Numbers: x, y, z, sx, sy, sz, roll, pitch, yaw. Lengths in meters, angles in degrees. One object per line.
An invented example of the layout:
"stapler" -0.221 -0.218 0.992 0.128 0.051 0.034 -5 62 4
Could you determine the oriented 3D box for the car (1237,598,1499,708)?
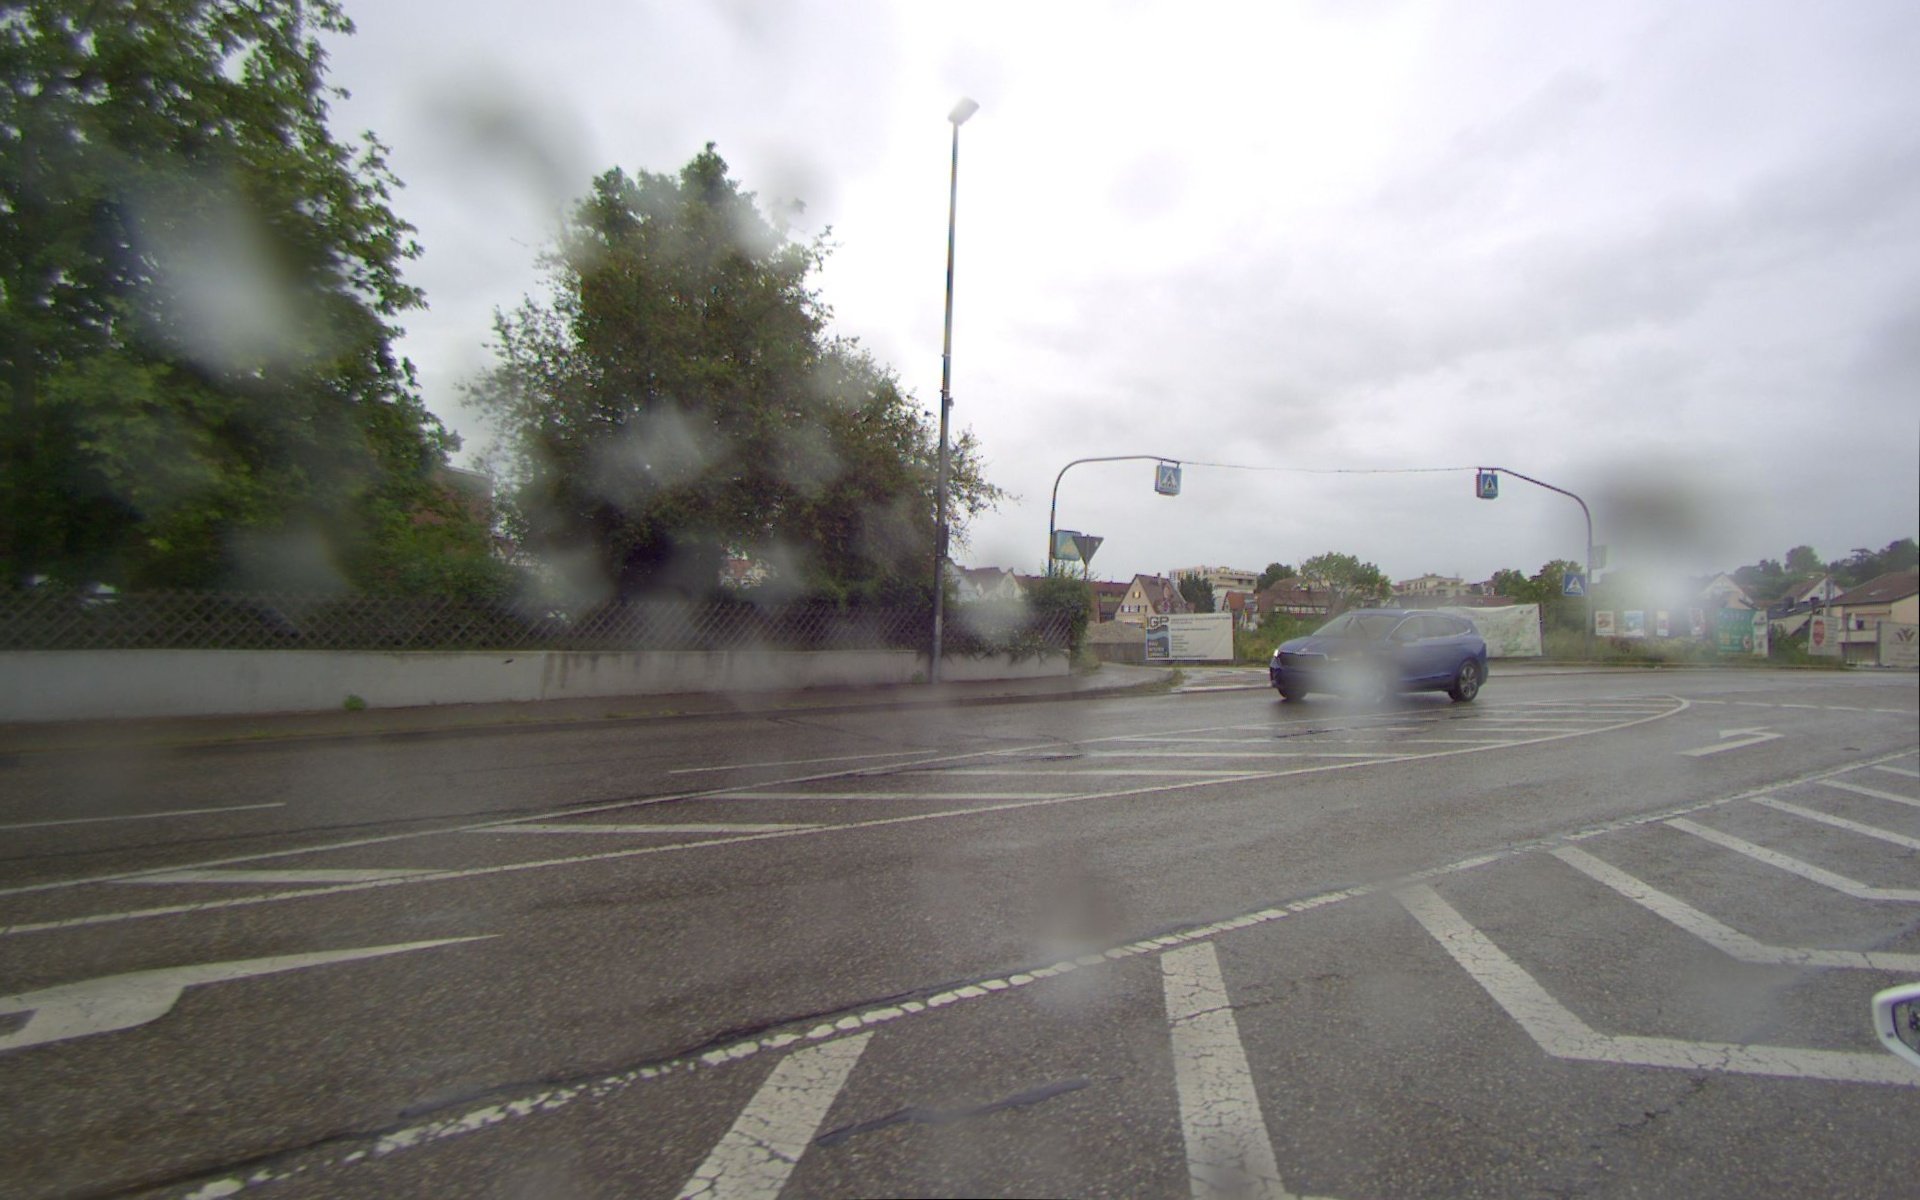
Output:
"car" 7.315 0.923 17.885 4.655 1.715 1.982 3 -1 -33
